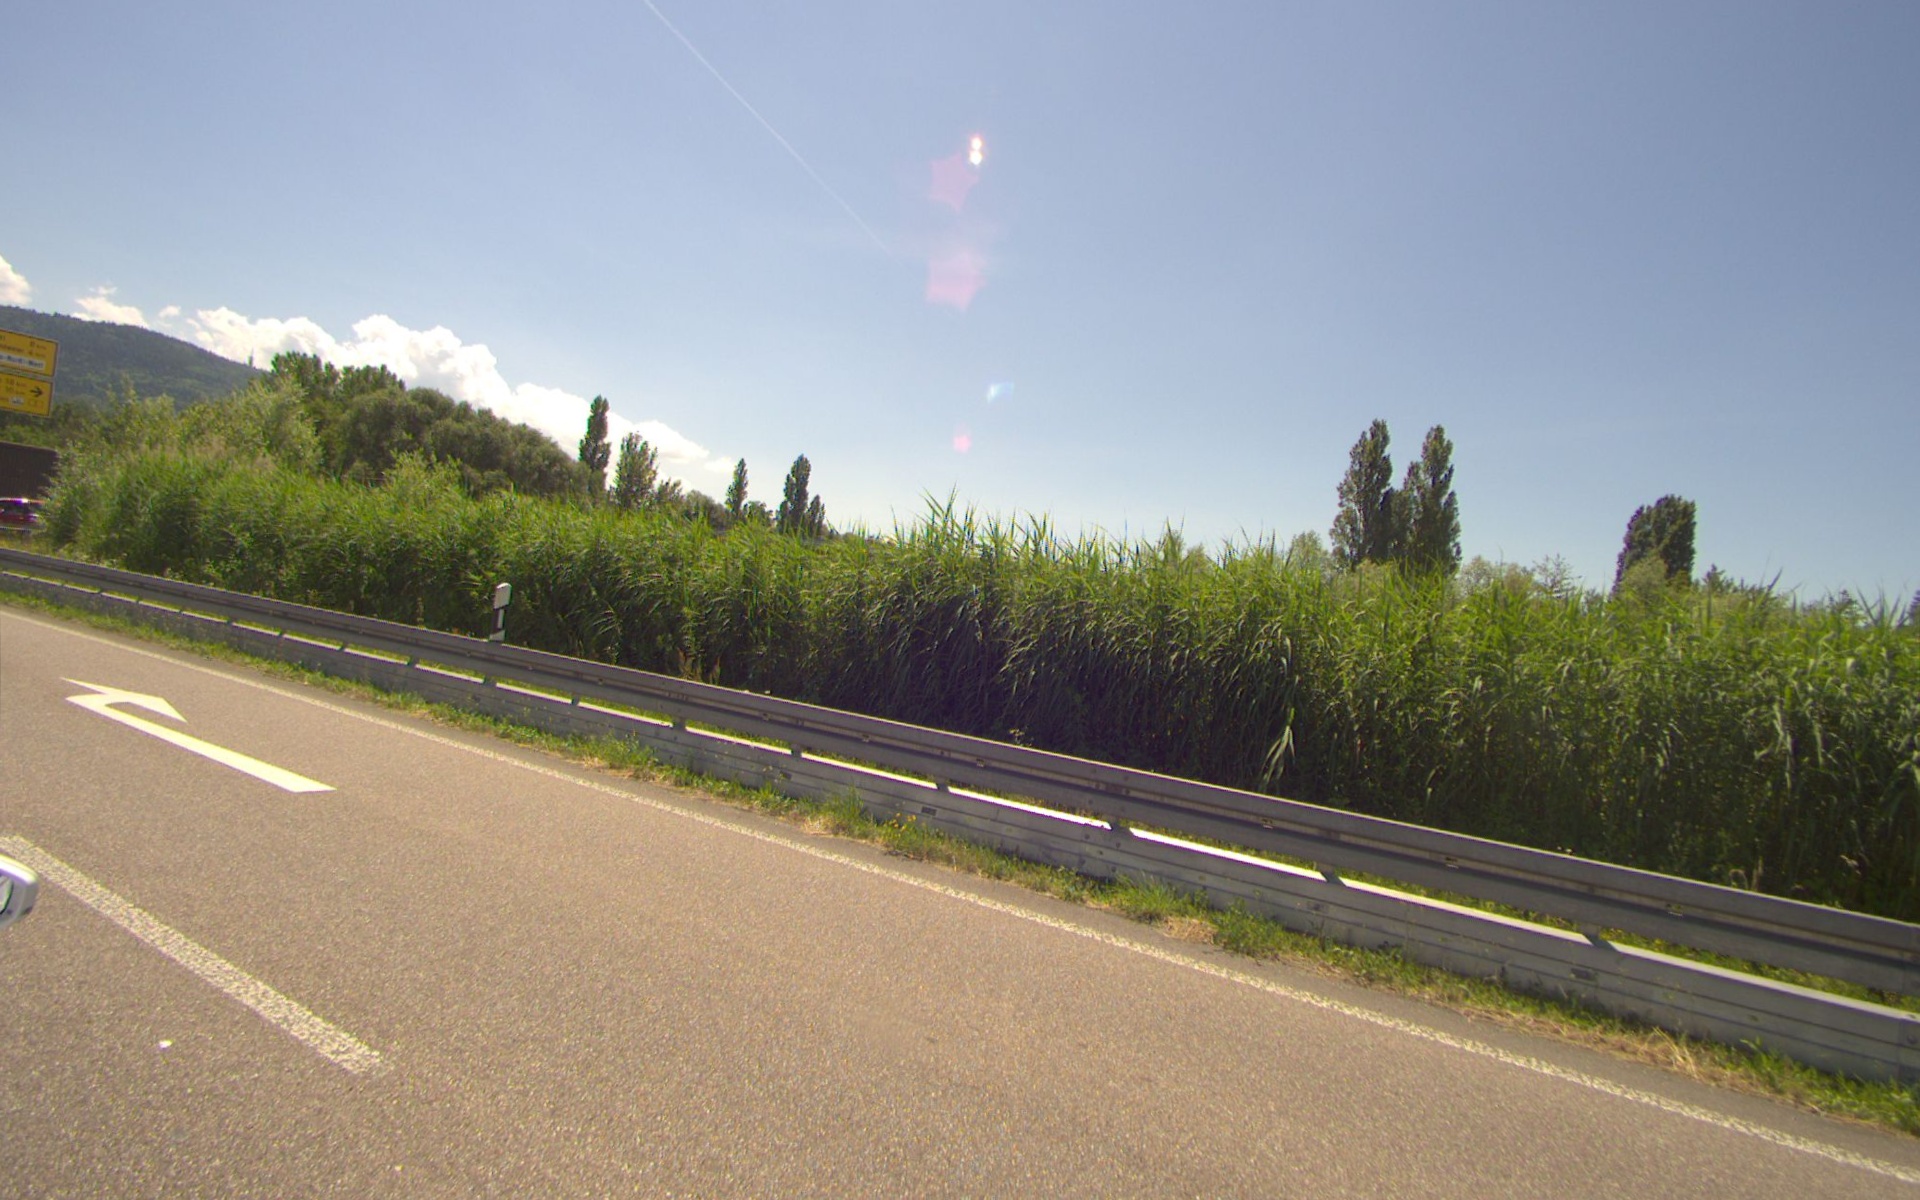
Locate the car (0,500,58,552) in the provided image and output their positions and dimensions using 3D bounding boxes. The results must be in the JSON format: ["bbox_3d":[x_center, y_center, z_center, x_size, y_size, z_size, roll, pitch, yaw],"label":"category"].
[{"bbox_3d":[-36.323,-2.954,36.910,1.966,1.676,4.320,7,-2,28],"label":"car"}]
